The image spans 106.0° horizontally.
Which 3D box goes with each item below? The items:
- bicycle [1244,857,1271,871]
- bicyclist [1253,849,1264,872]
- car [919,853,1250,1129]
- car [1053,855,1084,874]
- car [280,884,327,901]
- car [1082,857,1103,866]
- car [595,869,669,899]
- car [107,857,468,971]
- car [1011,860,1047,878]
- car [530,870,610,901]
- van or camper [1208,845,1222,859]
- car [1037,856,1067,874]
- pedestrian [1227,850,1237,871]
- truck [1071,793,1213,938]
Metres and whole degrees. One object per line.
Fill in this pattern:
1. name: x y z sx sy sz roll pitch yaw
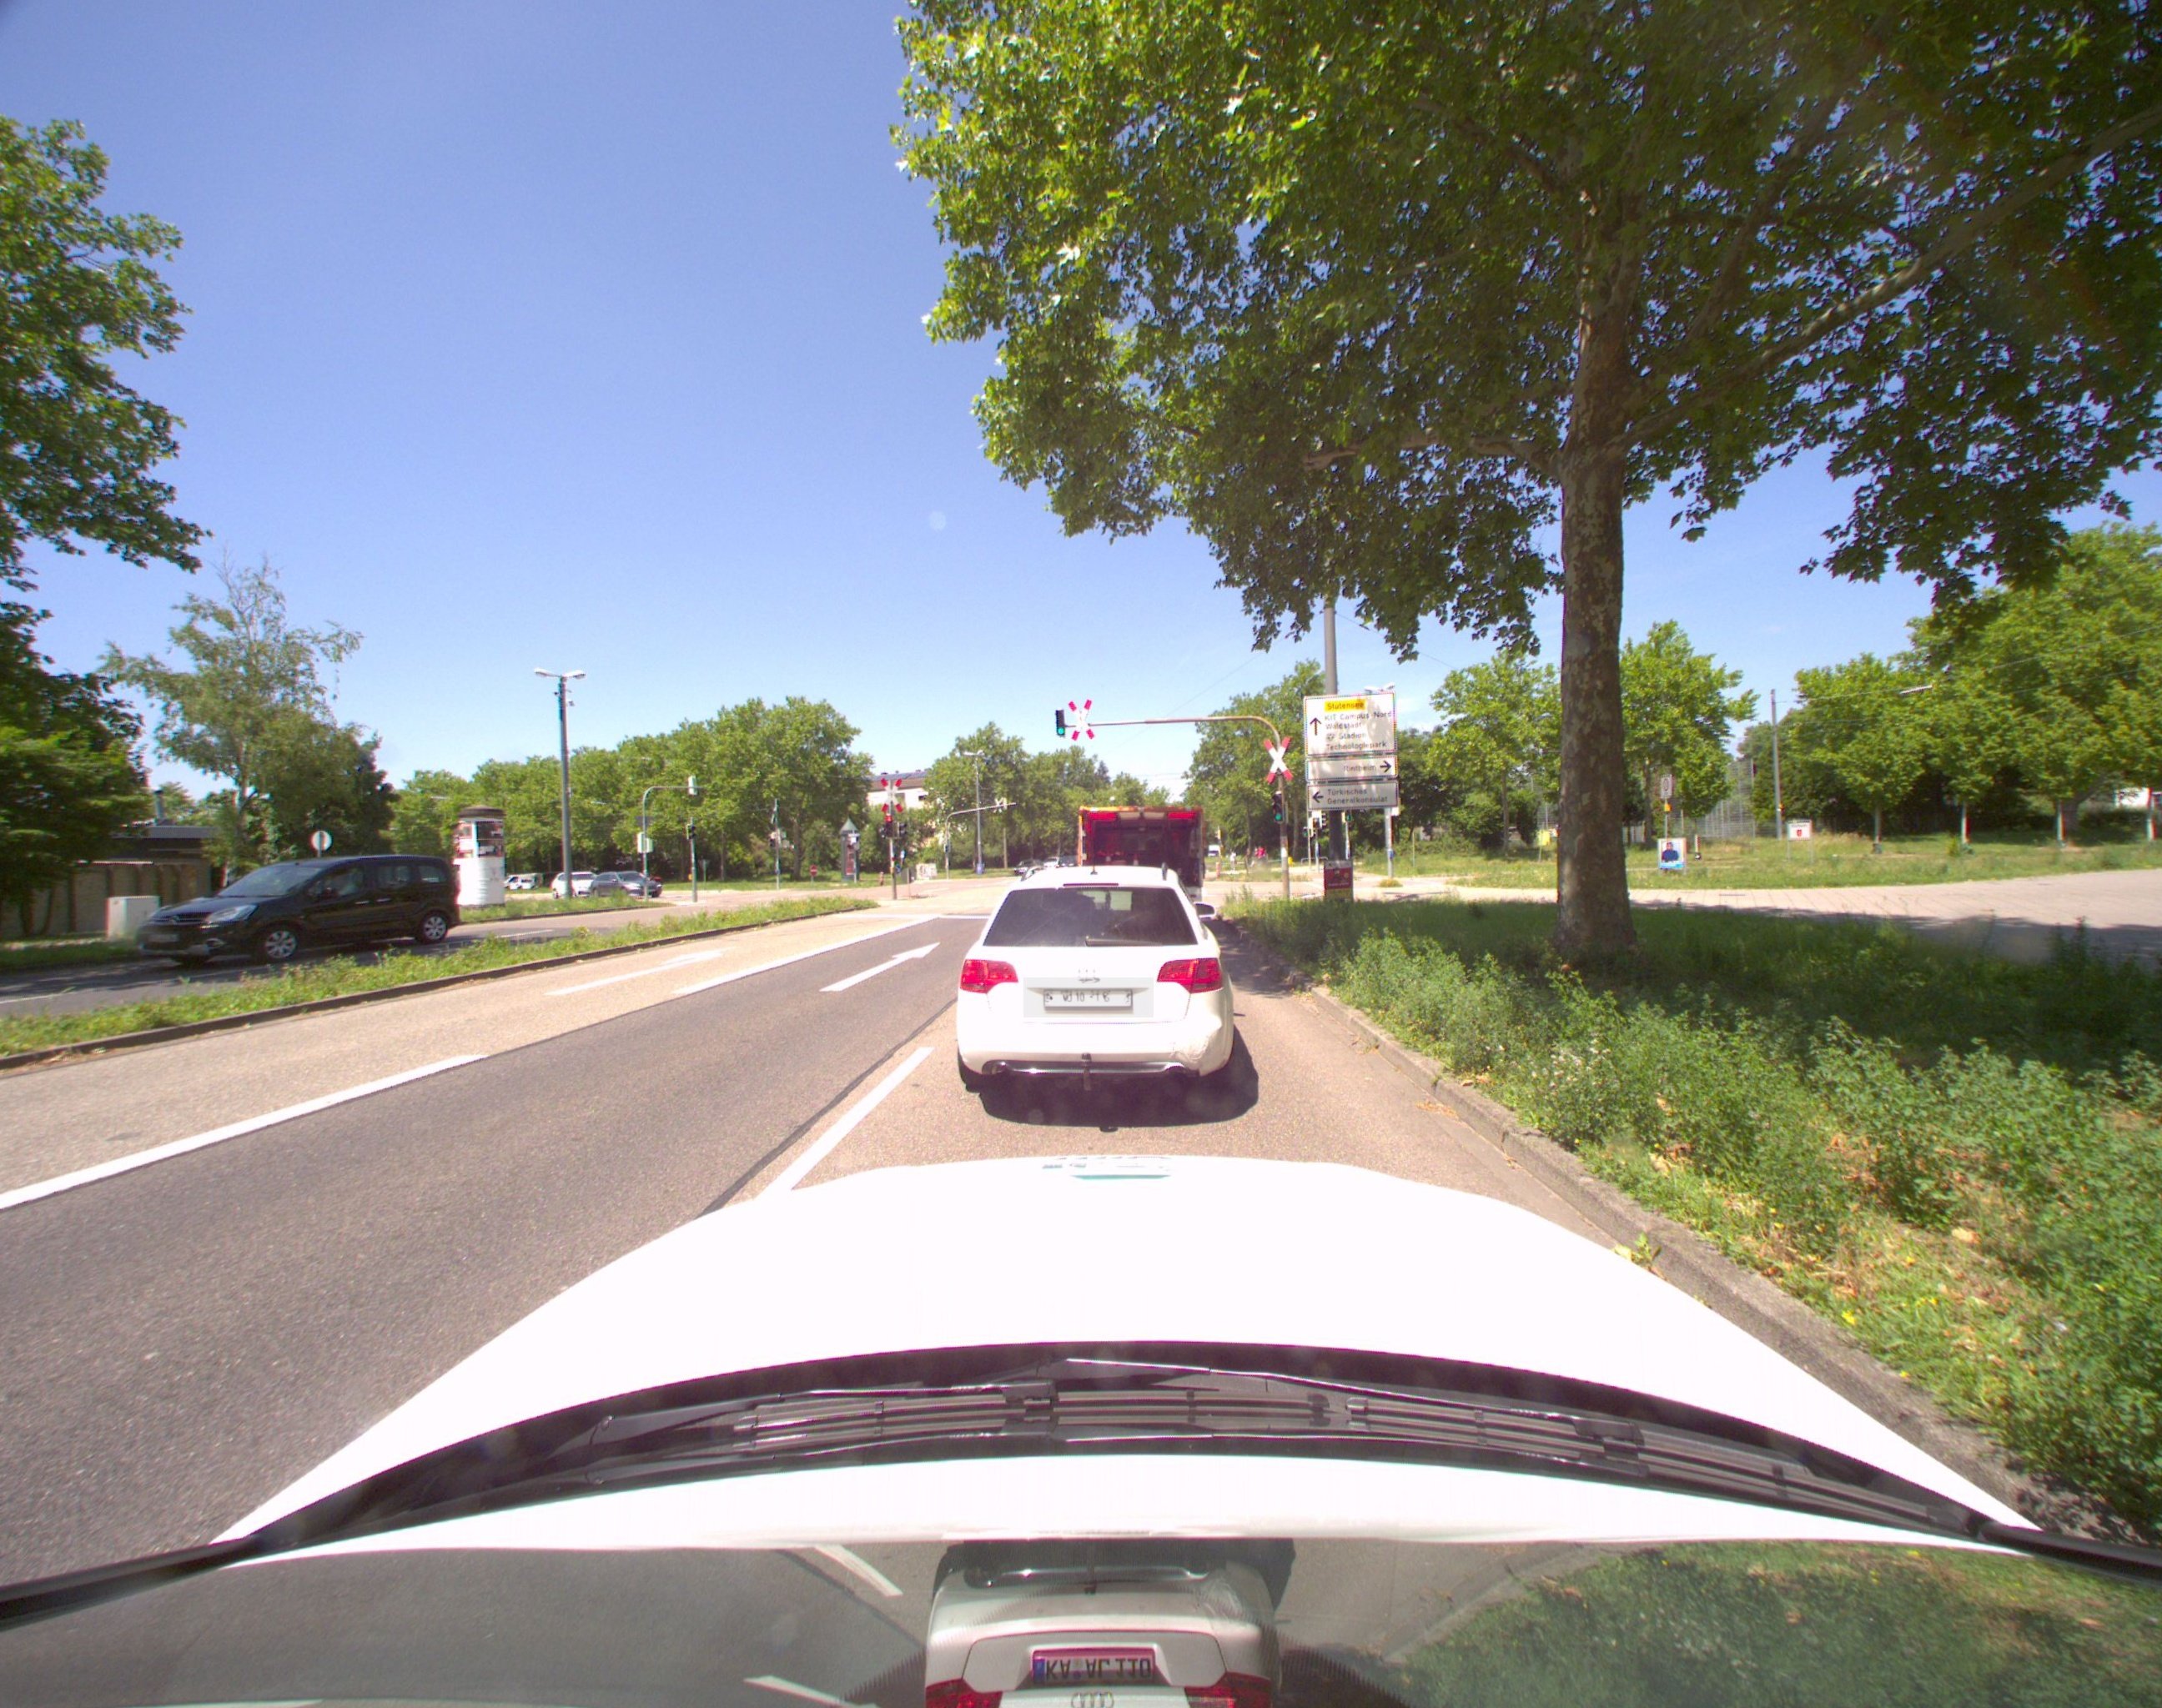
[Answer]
1. bicycle: 12.062 0.680 55.673 1.796 0.895 0.590 -2 -1 7
2. bicyclist: 12.120 0.417 55.668 0.668 1.556 0.580 -2 -1 7
3. car: 0.194 0.730 6.155 1.754 1.445 3.622 -1 0 6
4. car: -1.125 0.916 74.323 1.897 1.539 4.312 -2 0 11
5. car: -63.578 3.152 66.646 1.181 1.205 2.874 -2 1 -3
6. car: 2.013 1.300 139.379 1.864 1.393 4.025 -2 0 28
7. car: -23.817 1.607 43.168 3.941 1.457 1.776 -2 0 34
8. car: -13.907 0.936 14.760 1.902 1.679 4.451 -2 0 6
9. car: -4.660 1.357 73.729 1.935 1.440 4.764 -1 0 13
10. car: -29.407 1.808 46.854 4.403 1.604 2.231 -2 0 34
11. van or camper: 33.079 -0.524 201.193 2.640 3.331 5.524 -2 0 16
12. car: -2.811 1.081 81.006 1.774 1.615 4.421 -2 0 14
13. pedestrian: 10.790 0.449 58.217 0.548 1.484 0.632 -2 0 18
14. truck: 1.419 0.233 18.277 2.499 2.559 7.613 0 0 5
